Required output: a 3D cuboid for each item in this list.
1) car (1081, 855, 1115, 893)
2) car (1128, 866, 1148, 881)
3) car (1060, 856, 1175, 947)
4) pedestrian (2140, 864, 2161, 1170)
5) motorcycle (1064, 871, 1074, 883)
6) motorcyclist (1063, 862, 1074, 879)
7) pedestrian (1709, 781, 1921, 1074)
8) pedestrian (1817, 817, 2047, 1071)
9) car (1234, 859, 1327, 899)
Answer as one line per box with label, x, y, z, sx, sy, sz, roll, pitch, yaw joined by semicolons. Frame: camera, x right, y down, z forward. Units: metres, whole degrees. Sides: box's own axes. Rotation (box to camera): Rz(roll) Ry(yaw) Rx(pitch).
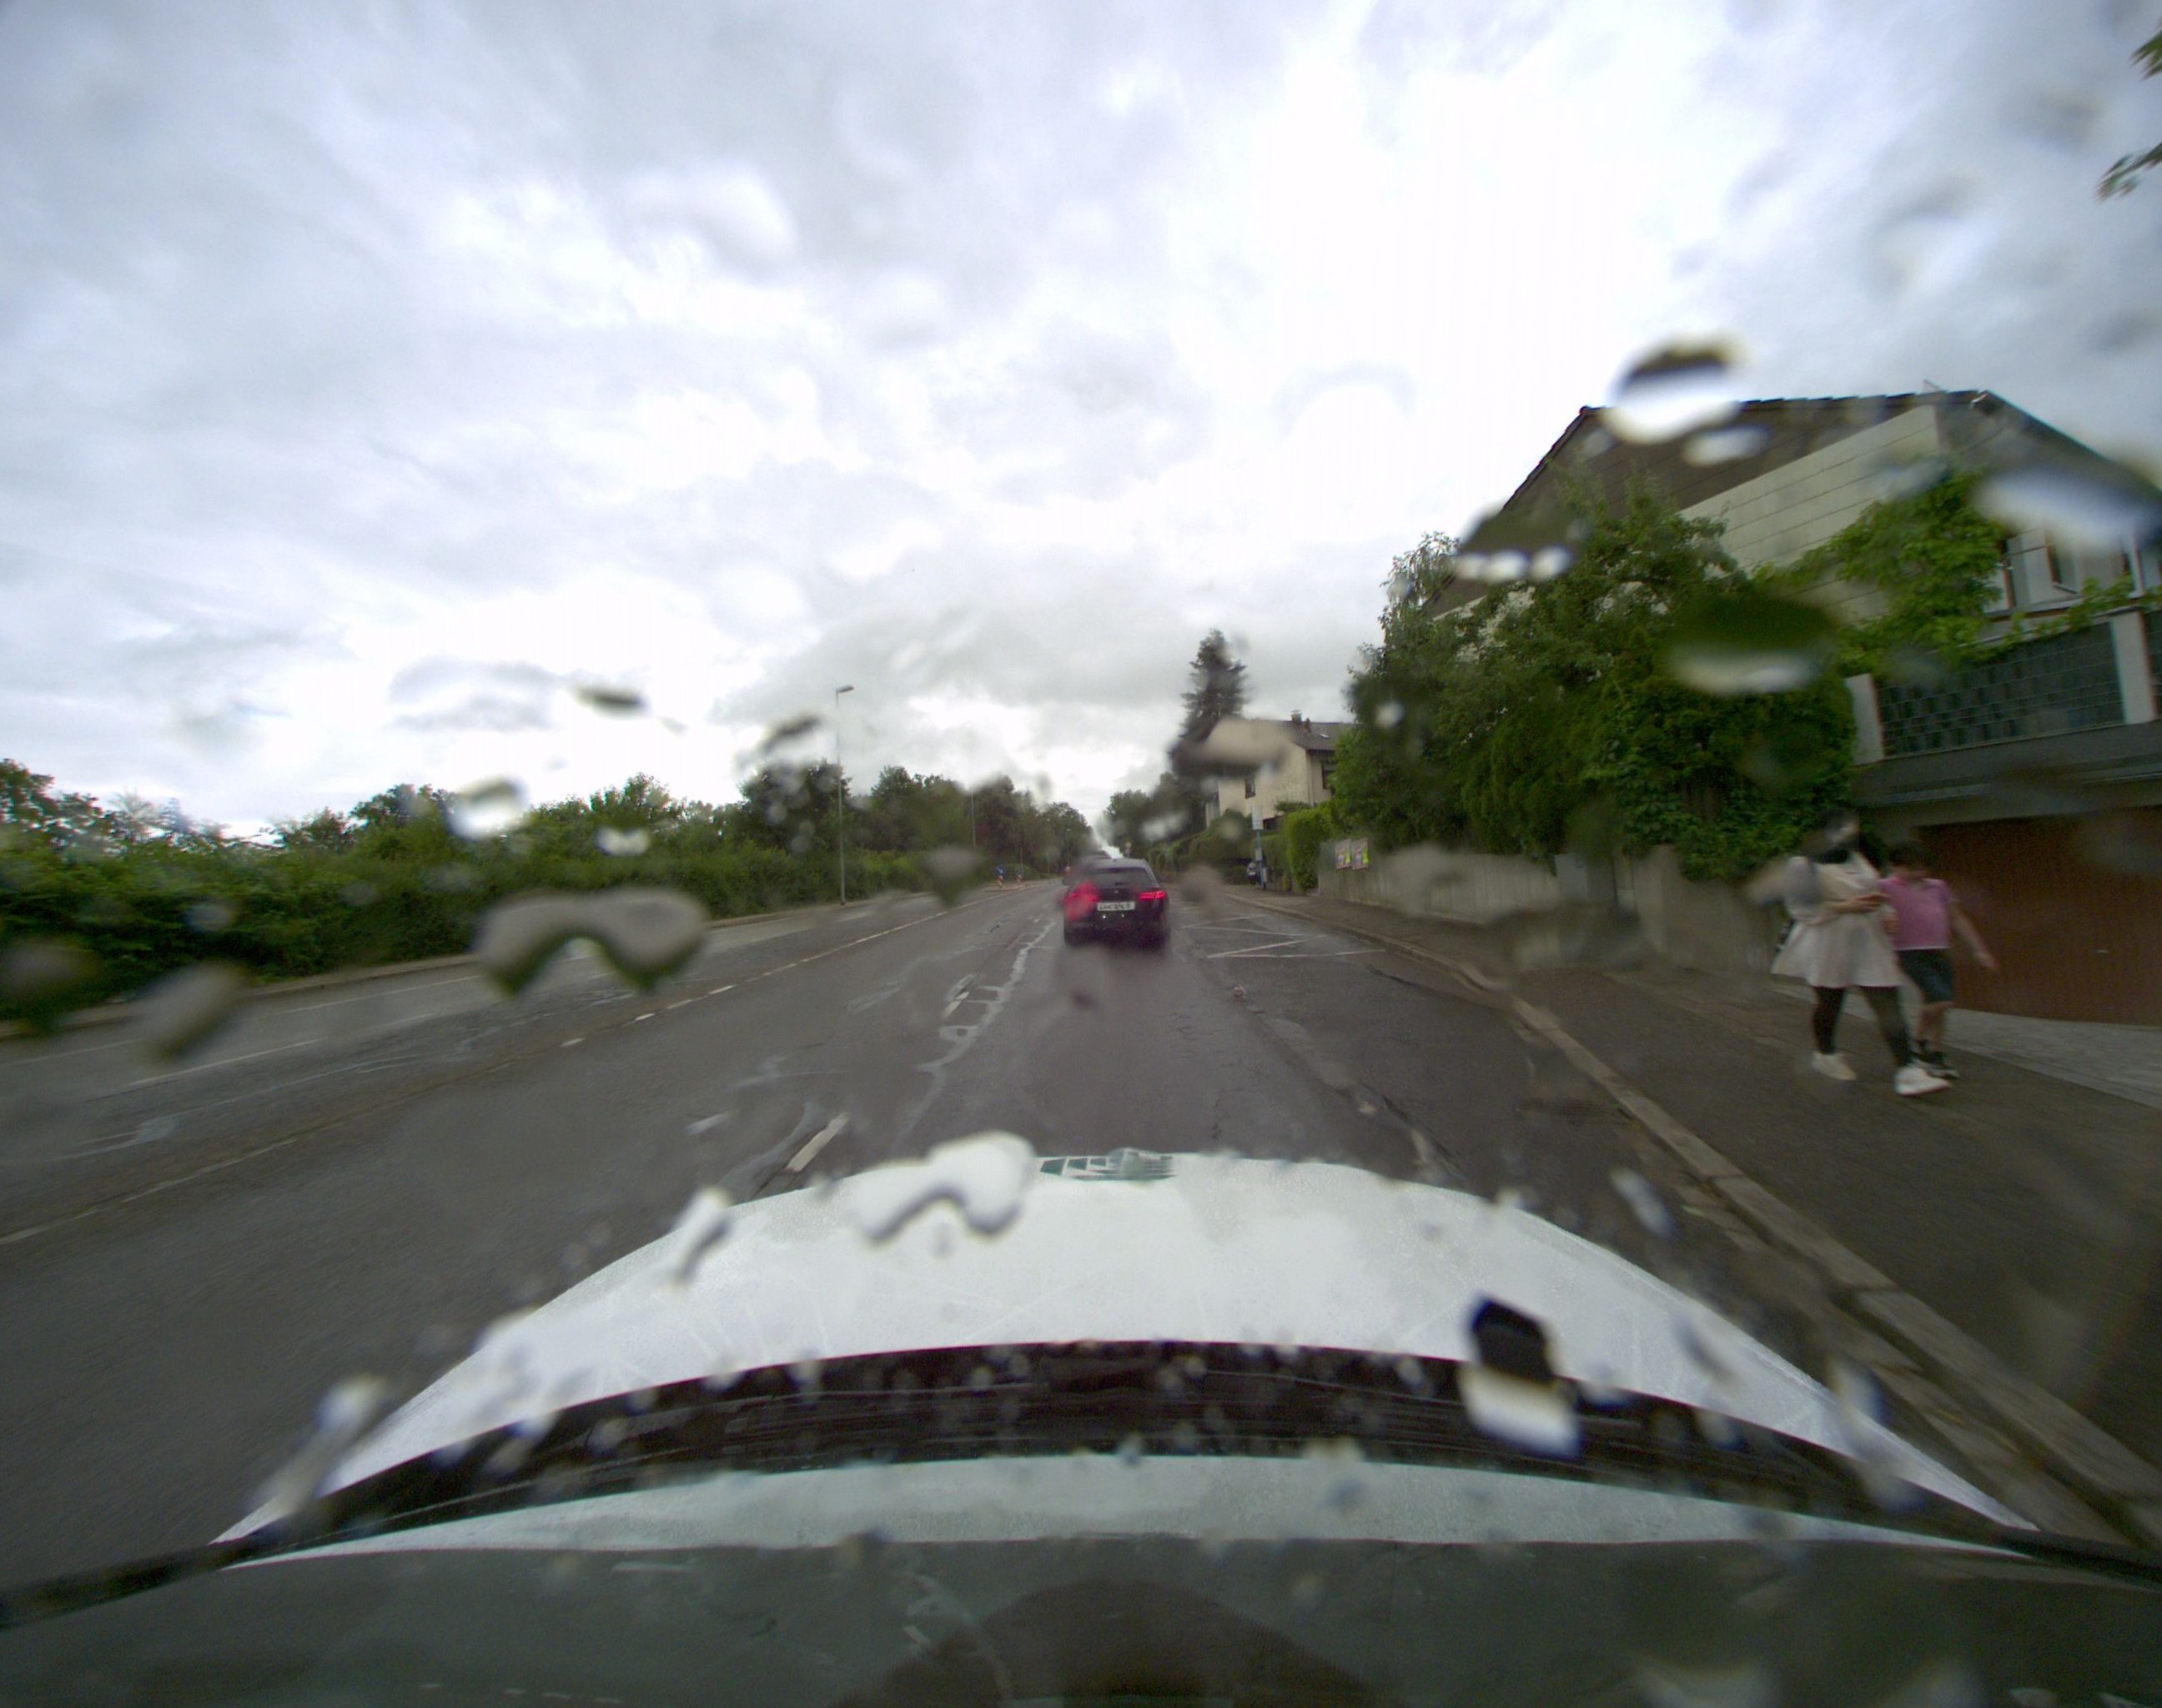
car;0.898;1.021;42.991;1.623;1.833;4.001;-3;-1;1
car;5.901;2.019;84.799;1.927;1.442;4.412;-4;-1;4
car;0.689;0.825;15.541;1.889;1.489;4.002;-1;-1;2
pedestrian;4.136;0.603;2.824;0.365;1.146;0.367;-3;-1;9
motorcycle;-1.205;2.309;80.700;0.873;1.124;2.741;-1;-2;1
motorcyclist;-1.231;1.640;80.752;1.036;1.568;0.855;-1;-2;1
pedestrian;4.287;0.412;4.810;0.606;1.593;0.648;-3;-1;9
pedestrian;4.895;0.496;4.734;0.598;1.355;0.648;-3;-1;9
car;9.161;1.177;37.377;3.706;1.299;1.761;9;-6;-19
